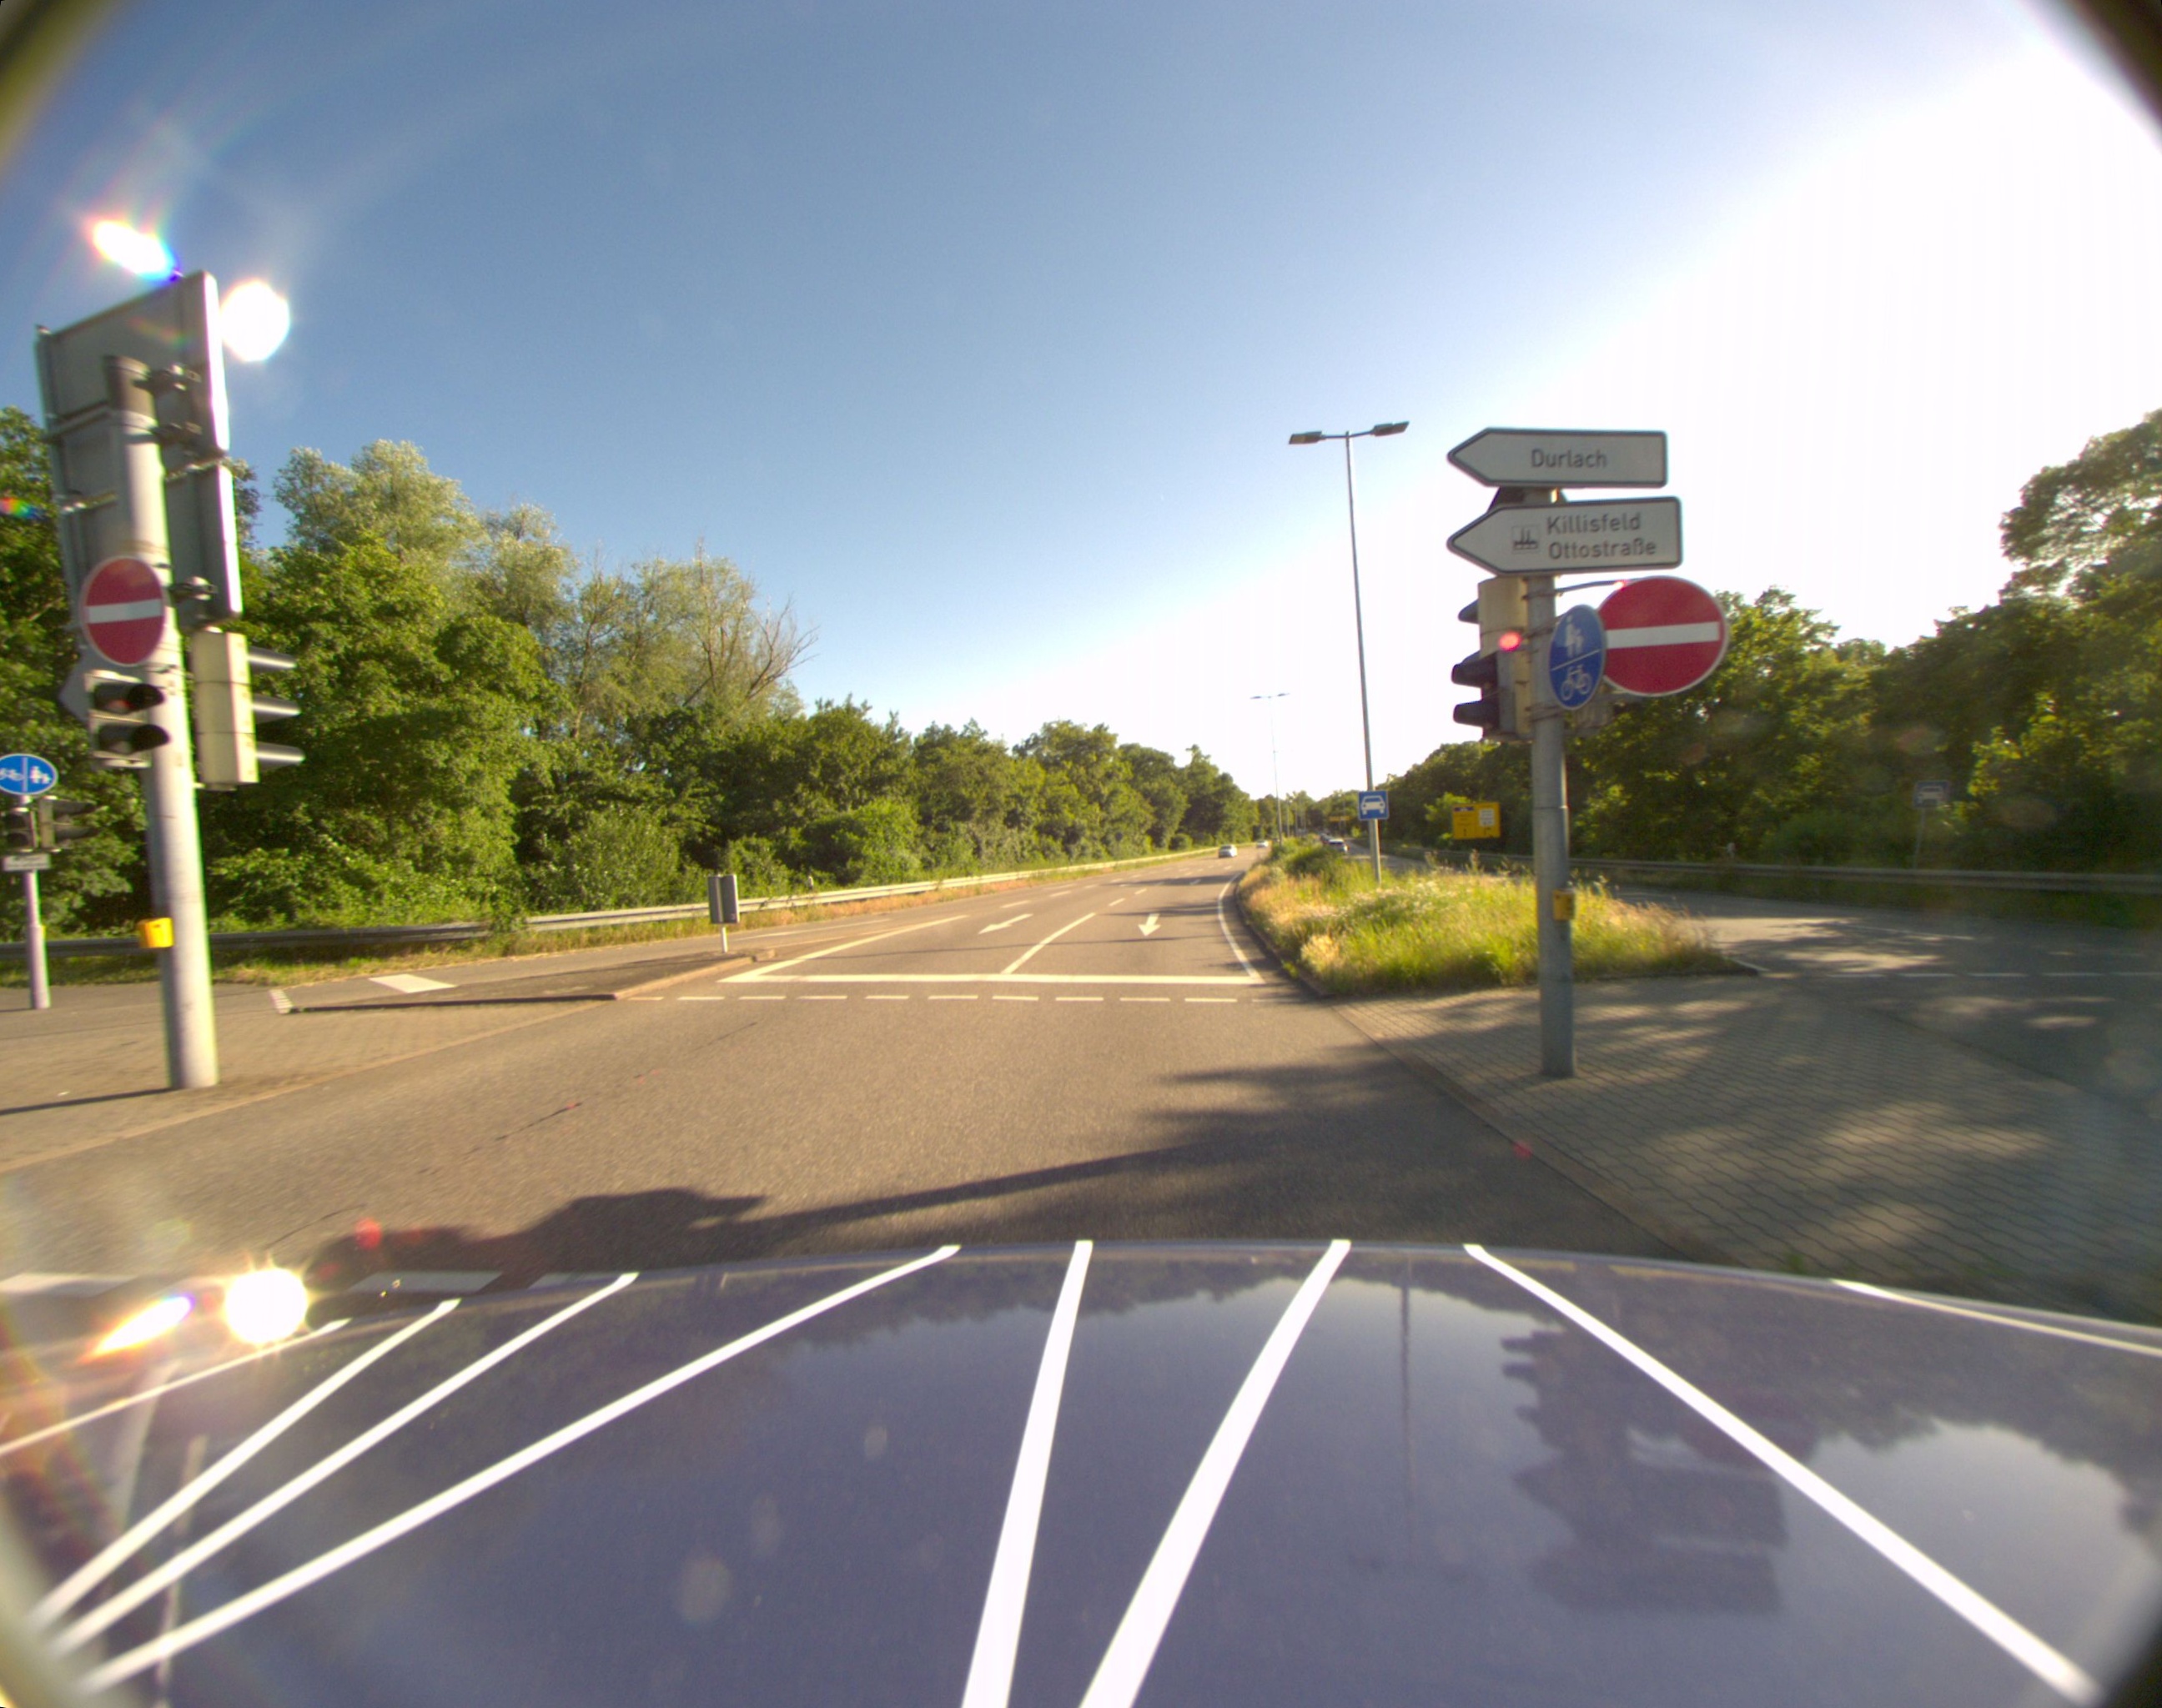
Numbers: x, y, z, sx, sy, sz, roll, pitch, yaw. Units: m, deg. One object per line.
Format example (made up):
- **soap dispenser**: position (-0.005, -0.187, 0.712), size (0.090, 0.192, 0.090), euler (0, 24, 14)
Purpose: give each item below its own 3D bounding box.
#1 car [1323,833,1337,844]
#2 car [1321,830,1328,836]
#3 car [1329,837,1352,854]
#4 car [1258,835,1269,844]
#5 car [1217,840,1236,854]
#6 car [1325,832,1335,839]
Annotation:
- **car**: position (36.261, -2.263, 110.391), size (1.888, 1.412, 4.369), euler (0, 1, 19)
- **car**: position (64.668, -5.531, 201.523), size (1.689, 1.678, 3.626), euler (-2, 0, 18)
- **car**: position (24.802, -0.797, 72.681), size (1.888, 1.511, 4.221), euler (-2, 1, 16)
- **car**: position (33.939, -2.660, 141.302), size (1.908, 1.477, 3.348), euler (-2, 0, 16)
- **car**: position (16.541, -0.806, 86.230), size (1.680, 1.477, 3.394), euler (-2, 0, 16)
- **car**: position (50.144, -3.718, 153.047), size (1.807, 1.409, 4.535), euler (-1, 1, 15)
